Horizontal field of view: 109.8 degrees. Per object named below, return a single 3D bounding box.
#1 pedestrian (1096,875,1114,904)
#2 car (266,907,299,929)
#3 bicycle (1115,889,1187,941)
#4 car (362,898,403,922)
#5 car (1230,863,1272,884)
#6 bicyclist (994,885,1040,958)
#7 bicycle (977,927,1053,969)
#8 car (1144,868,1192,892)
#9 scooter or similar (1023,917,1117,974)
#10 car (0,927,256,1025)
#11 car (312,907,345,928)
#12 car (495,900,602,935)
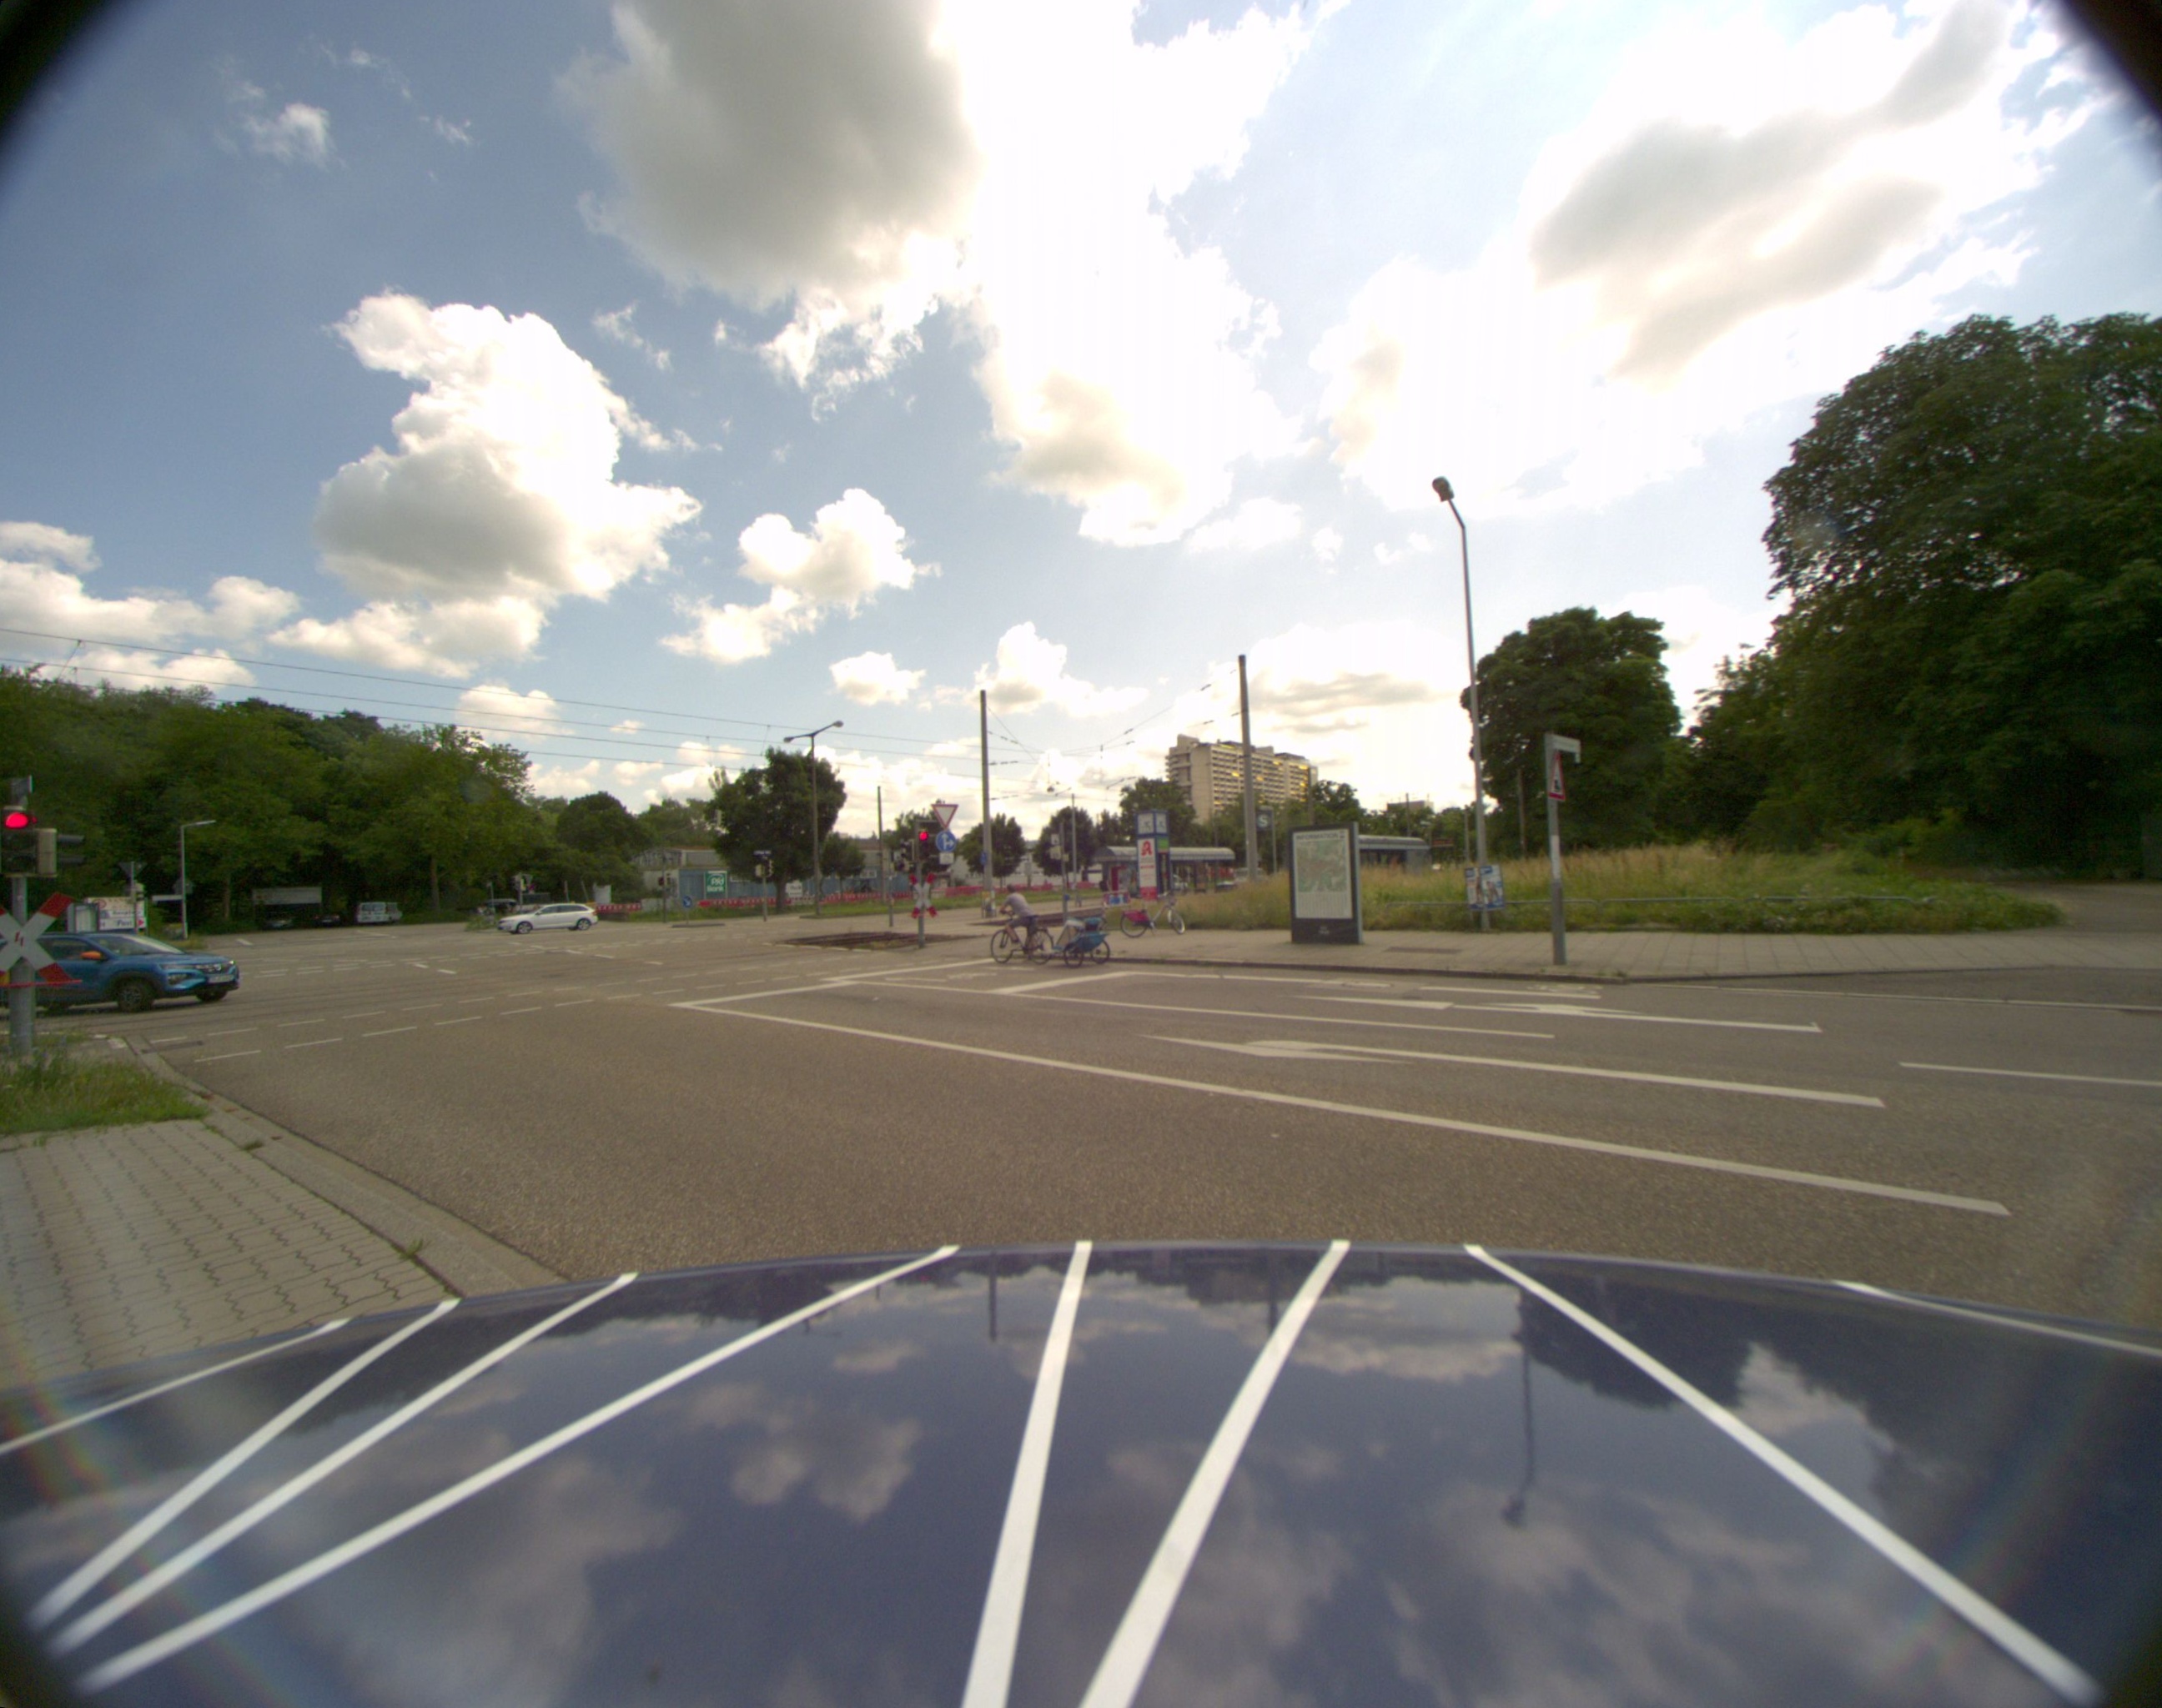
[{"bbox_3d":[1.300,1.904,40.769,0.654,1.504,0.719,-3,-1,31],"label":"pedestrian"},{"bbox_3d":[-63.300,5.051,60.196,3.609,1.499,1.623,-2,-1,41],"label":"car"},{"bbox_3d":[1.746,1.509,18.900,1.659,1.125,0.702,-5,-1,6],"label":"bicycle"},{"bbox_3d":[-58.949,4.716,64.182,1.940,1.782,3.611,-1,-1,-32],"label":"car"},{"bbox_3d":[17.188,1.949,76.596,1.814,1.906,5.243,-4,-2,41],"label":"car"},{"bbox_3d":[-1.331,1.400,15.829,0.839,1.466,0.456,-3,-1,43],"label":"bicyclist"},{"bbox_3d":[-1.404,1.949,15.918,1.723,0.760,0.556,-3,-2,43],"label":"bicycle"},{"bbox_3d":[7.115,2.080,61.663,1.743,1.774,4.165,-2,-1,42],"label":"car"},{"bbox_3d":[-0.224,1.748,14.825,1.576,0.973,0.964,-4,-2,43],"label":"scooter or similar"},{"bbox_3d":[-18.290,2.258,14.157,3.703,1.455,1.604,-3,-2,-10],"label":"car"},{"bbox_3d":[-61.609,5.163,62.217,3.609,1.499,1.623,-2,-1,41],"label":"car"},{"bbox_3d":[-27.640,3.272,39.538,1.994,1.495,4.182,-2,-1,40],"label":"car"}]
